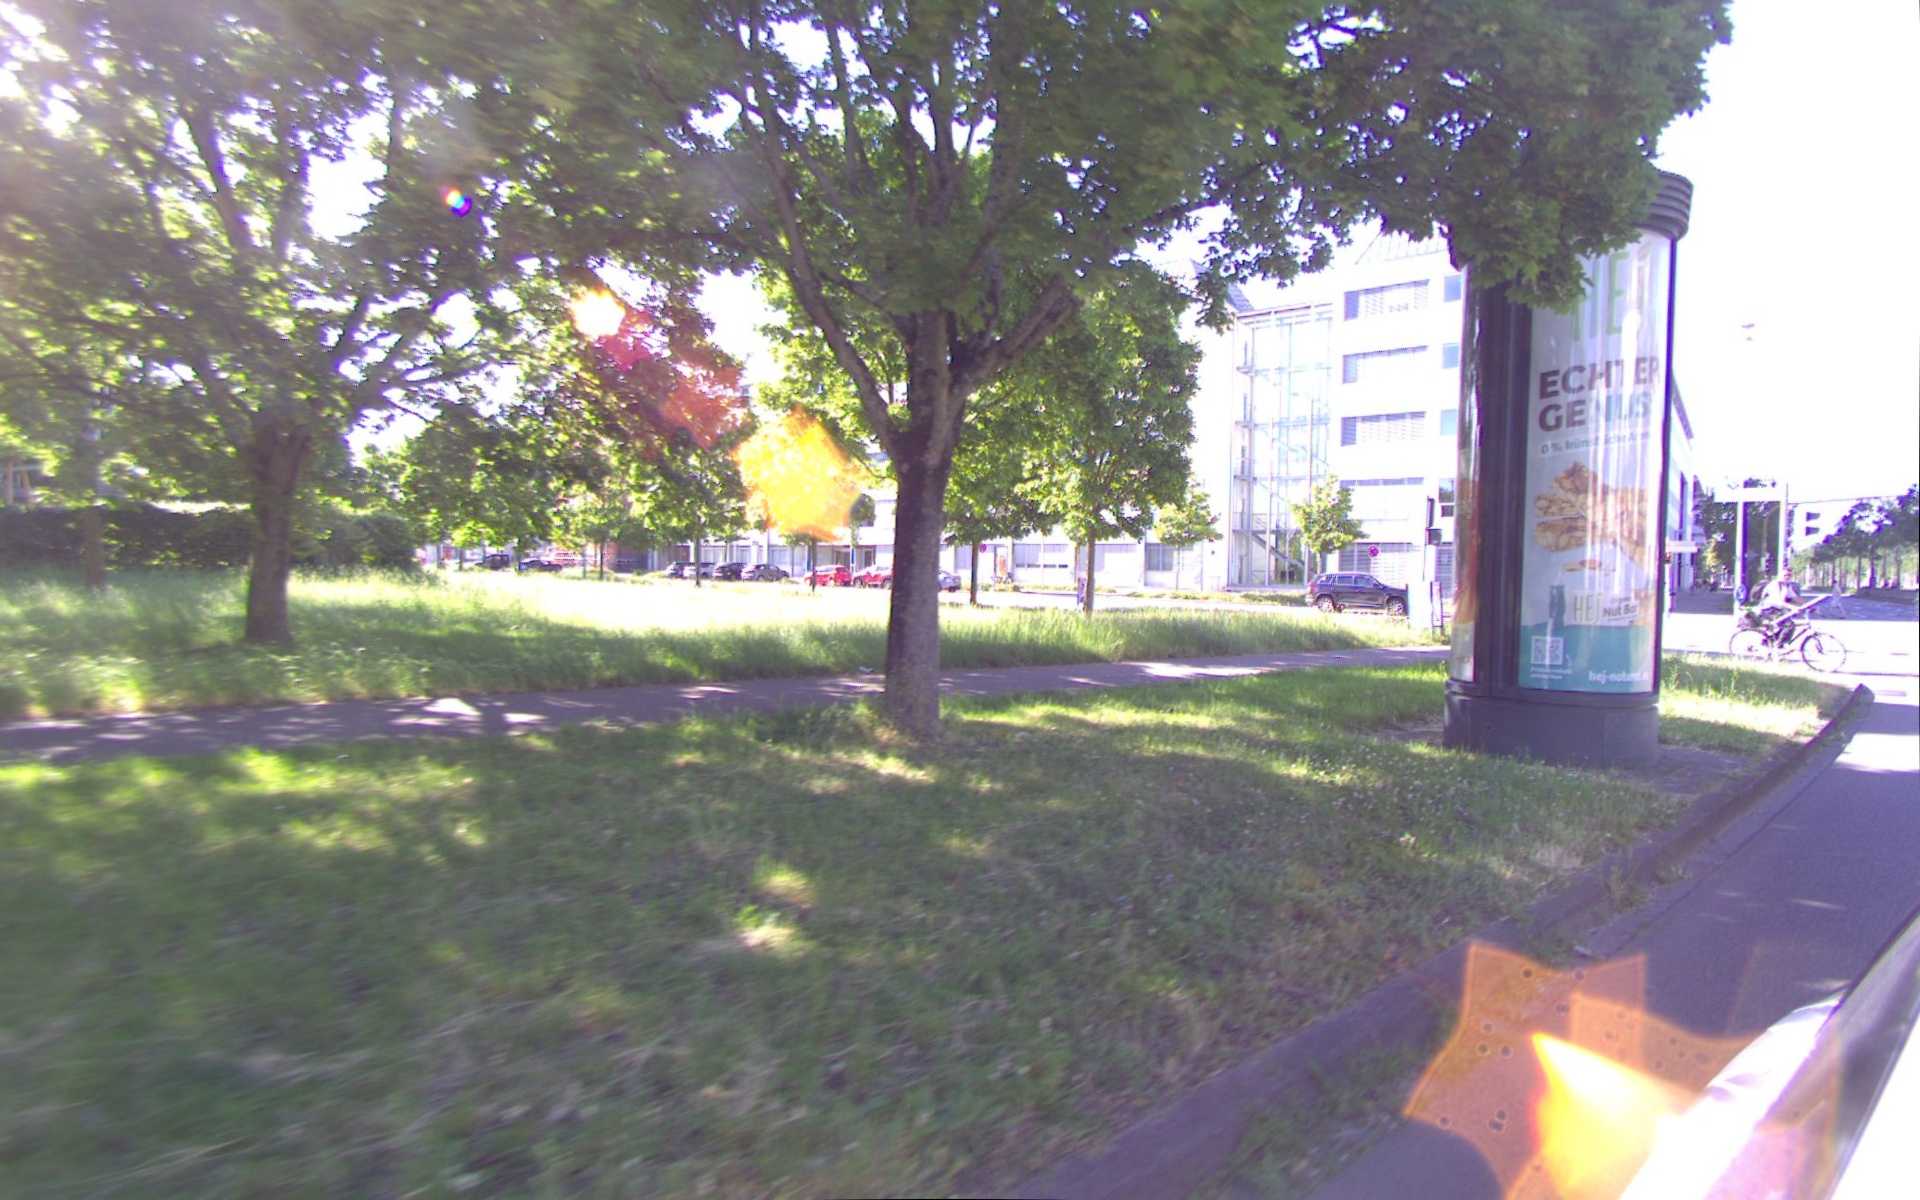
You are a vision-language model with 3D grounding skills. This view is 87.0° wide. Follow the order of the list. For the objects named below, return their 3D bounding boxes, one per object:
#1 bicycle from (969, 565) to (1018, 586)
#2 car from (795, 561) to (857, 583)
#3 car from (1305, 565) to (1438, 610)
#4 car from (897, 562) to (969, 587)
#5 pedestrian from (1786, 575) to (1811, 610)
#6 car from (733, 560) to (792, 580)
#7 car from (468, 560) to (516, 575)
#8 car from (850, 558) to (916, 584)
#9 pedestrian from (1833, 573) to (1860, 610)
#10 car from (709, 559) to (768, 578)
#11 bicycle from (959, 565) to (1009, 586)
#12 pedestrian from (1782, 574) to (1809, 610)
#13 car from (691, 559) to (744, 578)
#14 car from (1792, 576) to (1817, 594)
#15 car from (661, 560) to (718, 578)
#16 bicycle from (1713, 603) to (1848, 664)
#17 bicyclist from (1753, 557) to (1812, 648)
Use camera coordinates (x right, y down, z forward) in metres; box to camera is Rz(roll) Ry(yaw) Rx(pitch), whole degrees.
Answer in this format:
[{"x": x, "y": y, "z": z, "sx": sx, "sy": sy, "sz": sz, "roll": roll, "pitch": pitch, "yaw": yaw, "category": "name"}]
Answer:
[{"x": 2.283, "y": -1.698, "z": 70.155, "sx": 3.518, "sy": 1.365, "sz": 0.976, "roll": 2, "pitch": 2, "yaw": 40, "category": "bicycle"}, {"x": -9.491, "y": -2.000, "z": 71.459, "sx": 4.262, "sy": 1.437, "sz": 1.894, "roll": 2, "pitch": 2, "yaw": 37, "category": "car"}, {"x": 16.600, "y": -0.551, "z": 40.943, "sx": 4.612, "sy": 1.642, "sz": 1.971, "roll": 2, "pitch": 3, "yaw": 41, "category": "car"}, {"x": -1.686, "y": -1.599, "z": 62.989, "sx": 4.262, "sy": 1.437, "sz": 1.894, "roll": 2, "pitch": 2, "yaw": 37, "category": "car"}, {"x": 41.905, "y": -0.366, "z": 50.579, "sx": 0.720, "sy": 1.718, "sz": 0.734, "roll": 0, "pitch": 1, "yaw": -29, "category": "pedestrian"}, {"x": -14.895, "y": -2.223, "z": 76.499, "sx": 1.909, "sy": 1.437, "sz": 4.230, "roll": 2, "pitch": 2, "yaw": 37, "category": "car"}, {"x": -48.771, "y": -3.395, "z": 105.547, "sx": 1.909, "sy": 1.437, "sz": 4.230, "roll": 2, "pitch": 2, "yaw": 37, "category": "car"}, {"x": -5.235, "y": -1.970, "z": 68.219, "sx": 4.262, "sy": 1.614, "sz": 1.894, "roll": 2, "pitch": 2, "yaw": 37, "category": "car"}, {"x": 42.628, "y": -0.407, "z": 48.647, "sx": 0.723, "sy": 1.718, "sz": 0.880, "roll": 0, "pitch": 2, "yaw": -45, "category": "pedestrian"}, {"x": -17.099, "y": -2.415, "z": 78.263, "sx": 1.909, "sy": 1.437, "sz": 4.230, "roll": 2, "pitch": 2, "yaw": 37, "category": "car"}, {"x": 1.623, "y": -1.675, "z": 69.351, "sx": 3.518, "sy": 1.365, "sz": 0.976, "roll": 2, "pitch": 2, "yaw": 40, "category": "bicycle"}, {"x": 40.051, "y": -0.384, "z": 48.496, "sx": 0.720, "sy": 1.718, "sz": 0.734, "roll": 0, "pitch": 1, "yaw": -29, "category": "pedestrian"}, {"x": -19.303, "y": -2.497, "z": 80.767, "sx": 1.651, "sy": 1.437, "sz": 3.956, "roll": 2, "pitch": 2, "yaw": 37, "category": "car"}, {"x": 83.483, "y": -1.527, "z": 100.062, "sx": 1.685, "sy": 1.731, "sz": 4.183, "roll": 2, "pitch": 2, "yaw": 38, "category": "car"}, {"x": -22.119, "y": -2.533, "z": 82.741, "sx": 1.909, "sy": 1.437, "sz": 4.230, "roll": 2, "pitch": 2, "yaw": 37, "category": "car"}, {"x": 15.099, "y": 0.590, "z": 18.647, "sx": 0.841, "sy": 0.975, "sz": 1.825, "roll": 0, "pitch": 2, "yaw": -43, "category": "bicycle"}, {"x": 15.127, "y": 0.031, "z": 18.609, "sx": 0.836, "sy": 1.620, "sz": 0.713, "roll": 0, "pitch": 2, "yaw": -44, "category": "bicyclist"}]
